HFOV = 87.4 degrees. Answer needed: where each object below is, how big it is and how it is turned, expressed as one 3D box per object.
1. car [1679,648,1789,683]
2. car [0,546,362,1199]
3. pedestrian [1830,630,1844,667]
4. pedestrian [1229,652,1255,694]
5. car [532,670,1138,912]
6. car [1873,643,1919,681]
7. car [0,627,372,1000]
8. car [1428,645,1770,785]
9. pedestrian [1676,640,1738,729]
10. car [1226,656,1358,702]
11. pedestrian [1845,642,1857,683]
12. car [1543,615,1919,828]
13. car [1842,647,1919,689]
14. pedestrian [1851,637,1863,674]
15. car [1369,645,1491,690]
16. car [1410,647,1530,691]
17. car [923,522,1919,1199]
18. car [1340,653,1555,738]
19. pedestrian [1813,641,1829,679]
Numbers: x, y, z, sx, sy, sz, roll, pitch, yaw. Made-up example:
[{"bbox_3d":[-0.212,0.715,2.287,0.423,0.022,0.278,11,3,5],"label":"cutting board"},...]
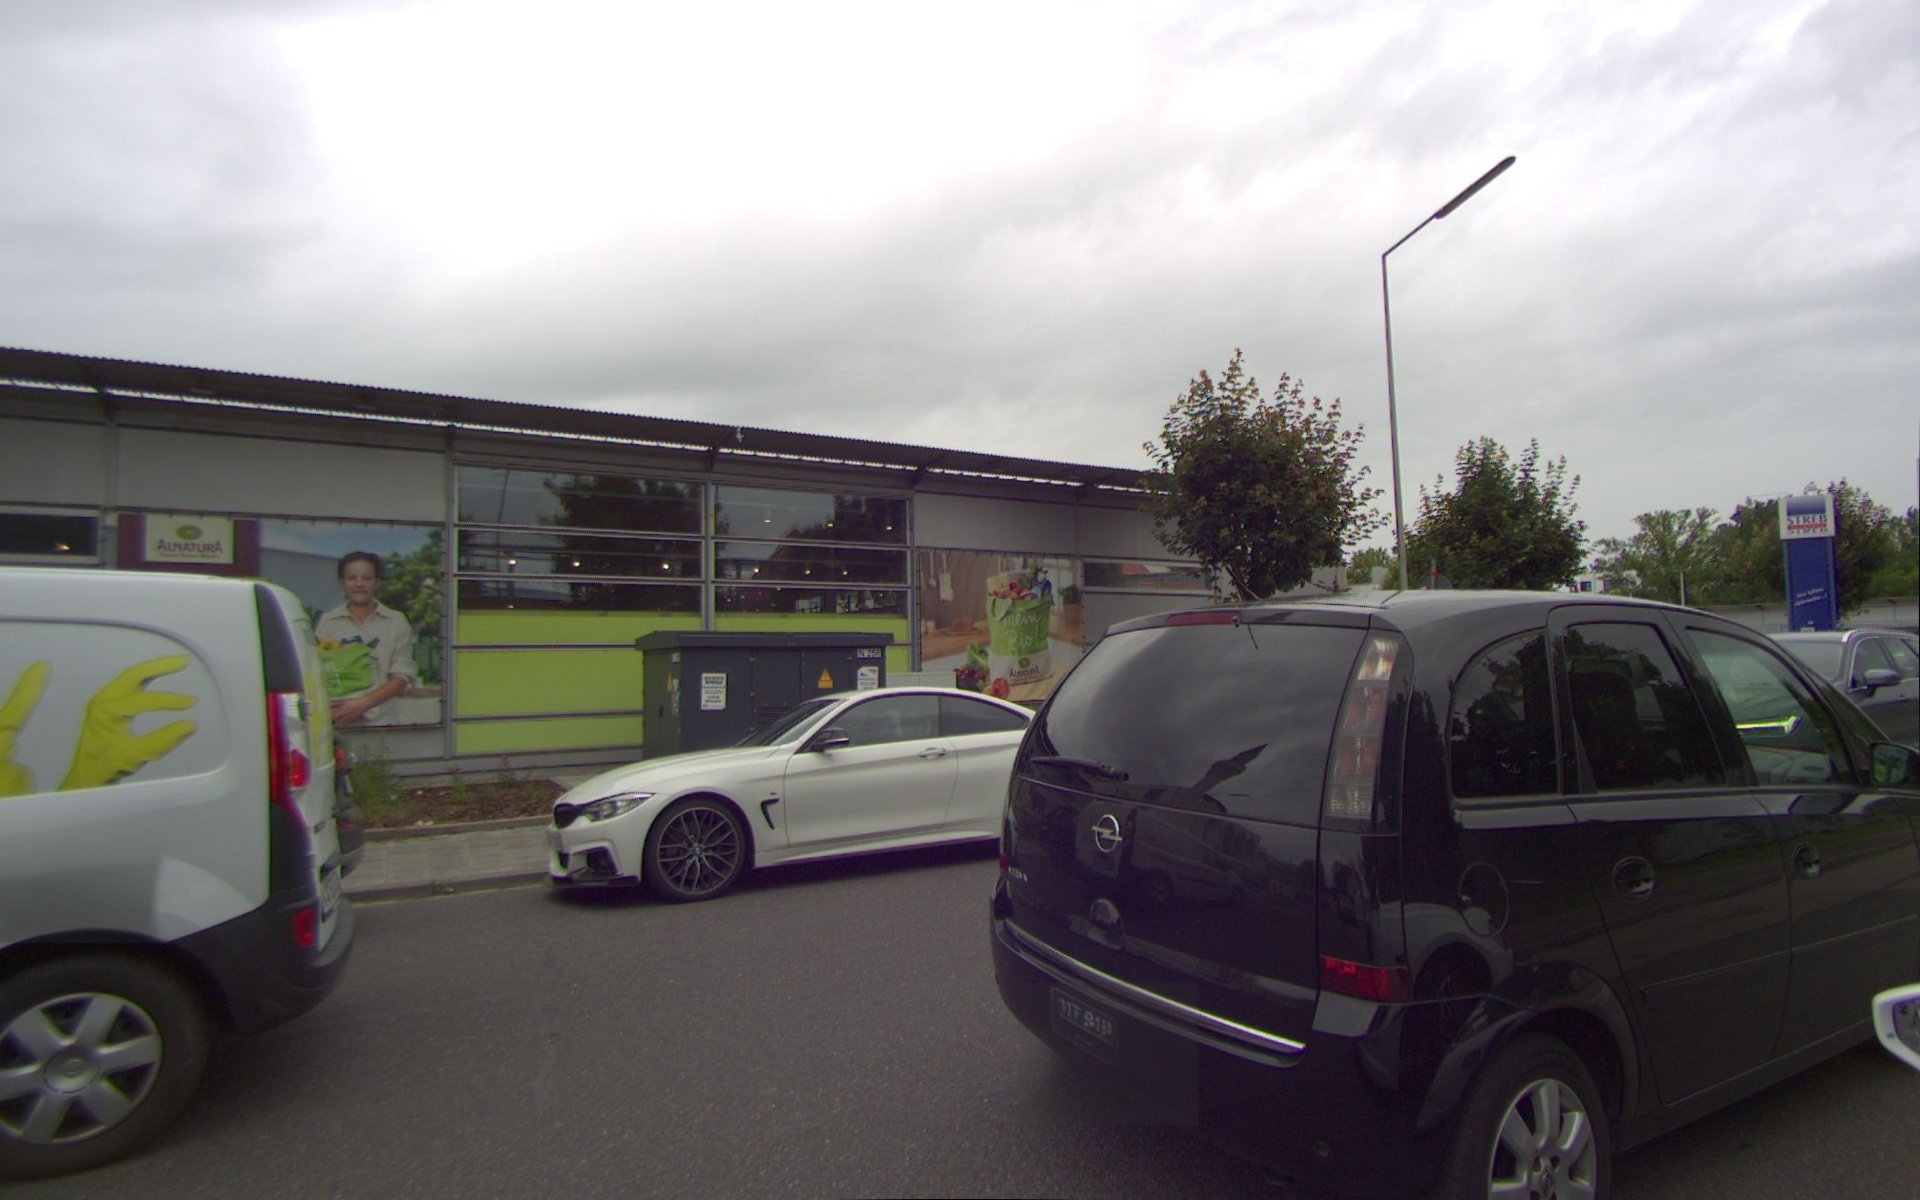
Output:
[{"bbox_3d":[39.358,3.347,51.164,1.854,1.690,3.970,1,-4,-29],"label":"car"},{"bbox_3d":[-4.126,0.777,2.855,4.085,1.783,1.683,1,-4,-30],"label":"car"},{"bbox_3d":[38.331,2.129,43.912,0.500,1.590,0.355,2,-4,-44],"label":"pedestrian"},{"bbox_3d":[11.944,3.086,42.523,0.690,1.738,0.794,1,-2,-34],"label":"pedestrian"},{"bbox_3d":[-0.886,1.355,7.985,4.466,1.384,1.692,1,-9,-31],"label":"car"},{"bbox_3d":[38.747,2.420,39.320,1.880,1.482,4.110,2,-4,-35],"label":"car"},{"bbox_3d":[-5.701,1.081,5.028,4.672,1.712,1.859,1,-7,-30],"label":"car"},{"bbox_3d":[8.389,1.455,13.135,4.353,1.545,1.939,1,-8,-31],"label":"car"},{"bbox_3d":[15.006,1.676,20.180,0.690,1.737,0.770,1,-3,-34],"label":"pedestrian"},{"bbox_3d":[11.554,2.741,35.093,3.944,1.504,1.866,-4,-5,42],"label":"car"},{"bbox_3d":[38.410,2.710,43.314,0.419,1.752,0.260,2,-4,-43],"label":"pedestrian"},{"bbox_3d":[8.118,1.090,9.987,4.439,1.705,1.926,1,-5,-28],"label":"car"},{"bbox_3d":[34.904,2.443,36.358,1.935,1.482,4.173,2,-4,-37],"label":"car"},{"bbox_3d":[39.122,2.424,43.804,0.501,1.590,0.326,2,-3,-45],"label":"pedestrian"},{"bbox_3d":[18.467,2.672,39.643,1.854,1.690,3.970,1,-4,-29],"label":"car"},{"bbox_3d":[20.693,2.821,40.893,1.854,1.690,3.970,1,-4,-29],"label":"car"},{"bbox_3d":[1.899,0.778,3.452,3.716,1.653,1.673,1,-4,-31],"label":"car"},{"bbox_3d":[10.584,2.002,22.069,1.904,1.641,3.857,1,-3,-29],"label":"car"},{"bbox_3d":[38.089,2.669,44.426,0.450,1.663,0.372,-4,-4,42],"label":"pedestrian"}]
